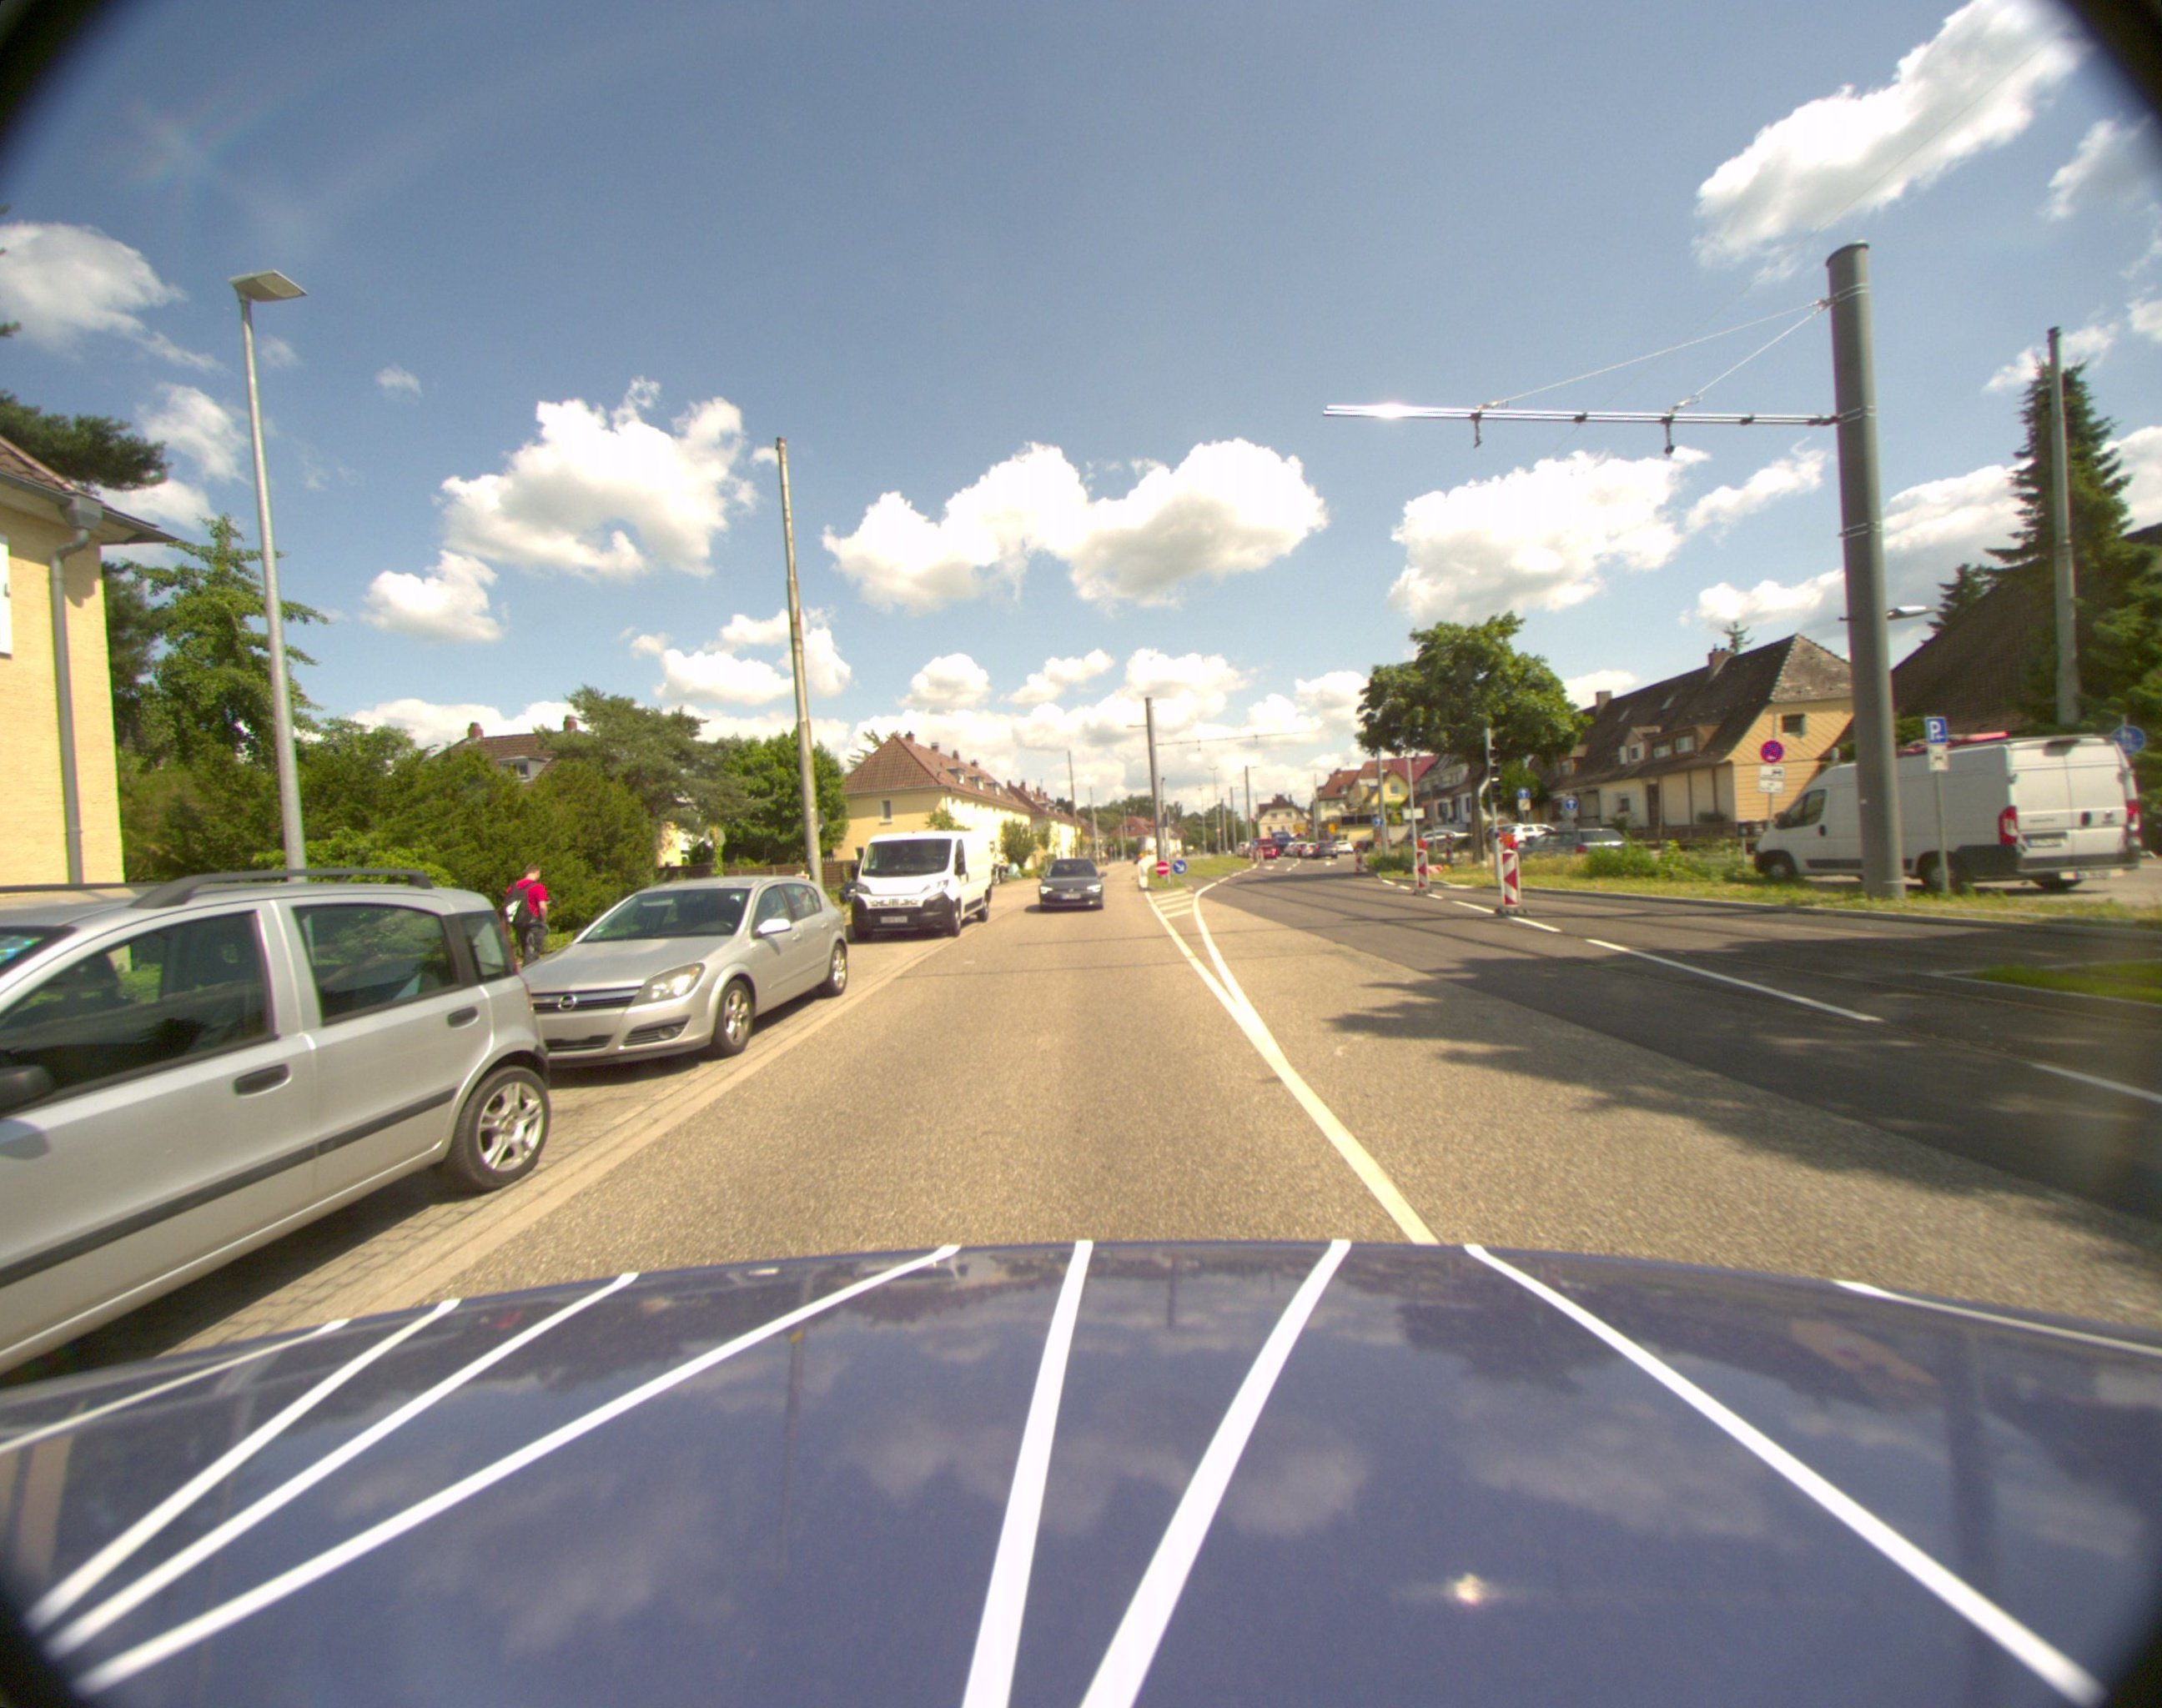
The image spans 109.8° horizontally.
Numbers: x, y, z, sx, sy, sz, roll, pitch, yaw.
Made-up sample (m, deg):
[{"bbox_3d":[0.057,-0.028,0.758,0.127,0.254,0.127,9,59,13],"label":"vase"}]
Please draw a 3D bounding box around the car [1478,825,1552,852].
[{"bbox_3d":[28.839,-0.995,50.604,3.891,1.535,1.707,-3,0,8],"label":"car"}]

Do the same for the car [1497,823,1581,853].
[{"bbox_3d":[27.523,-0.932,45.739,3.960,1.535,1.761,-3,0,-1],"label":"car"}]

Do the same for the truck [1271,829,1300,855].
[{"bbox_3d":[26.775,-1.523,99.606,2.841,3.135,7.939,-3,0,10],"label":"truck"}]

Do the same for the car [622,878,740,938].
[{"bbox_3d":[-12.835,1.676,24.653,1.632,1.538,3.809,-4,1,1],"label":"car"}]

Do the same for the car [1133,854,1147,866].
[{"bbox_3d":[8.524,0.910,109.766,1.878,1.543,4.987,-3,0,6],"label":"car"}]

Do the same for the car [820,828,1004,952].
[{"bbox_3d":[-3.430,0.658,17.115,2.282,2.170,6.369,-3,0,3],"label":"car"}]

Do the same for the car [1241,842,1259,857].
[{"bbox_3d":[21.597,-0.587,97.368,1.729,1.843,4.544,-3,0,7],"label":"car"}]

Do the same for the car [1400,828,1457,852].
[{"bbox_3d":[30.069,-1.187,65.856,3.996,1.835,1.803,-3,0,4],"label":"car"}]

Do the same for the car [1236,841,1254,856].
[{"bbox_3d":[22.623,-0.790,104.684,1.922,1.953,4.544,-3,0,7],"label":"car"}]

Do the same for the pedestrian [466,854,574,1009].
[{"bbox_3d":[-7.639,1.017,10.386,0.774,2.002,0.761,-3,1,1],"label":"pedestrian"}]

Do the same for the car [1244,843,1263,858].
[{"bbox_3d":[20.495,-0.415,90.433,1.729,1.553,4.544,-3,0,7],"label":"car"}]

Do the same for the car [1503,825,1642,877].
[{"bbox_3d":[16.122,-0.092,25.267,1.696,1.456,4.756,-3,0,3],"label":"car"}]

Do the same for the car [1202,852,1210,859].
[{"bbox_3d":[36.817,0.356,224.249,2.058,1.996,4.952,-3,0,11],"label":"car"}]

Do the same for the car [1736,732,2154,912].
[{"bbox_3d":[15.468,-0.496,14.194,2.158,2.653,4.916,-3,0,1],"label":"car"}]

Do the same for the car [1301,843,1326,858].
[{"bbox_3d":[21.847,-0.347,71.525,1.728,1.327,4.545,-3,0,10],"label":"car"}]

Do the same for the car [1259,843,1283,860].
[{"bbox_3d":[19.043,-0.240,76.334,1.729,1.553,4.544,-3,0,8],"label":"car"}]

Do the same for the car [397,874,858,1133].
[{"bbox_3d":[-3.562,1.023,7.065,1.712,1.495,4.254,-3,0,-1],"label":"car"}]

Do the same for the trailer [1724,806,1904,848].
[{"bbox_3d":[30.650,-1.109,31.919,5.266,1.385,2.025,-3,0,6],"label":"trailer"}]

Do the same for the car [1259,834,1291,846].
[{"bbox_3d":[34.385,-2.450,134.669,2.290,1.861,4.972,-4,0,-43],"label":"car"}]

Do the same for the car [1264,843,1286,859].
[{"bbox_3d":[20.886,-0.299,81.959,1.729,1.553,4.647,-3,0,8],"label":"car"}]

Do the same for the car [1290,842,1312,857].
[{"bbox_3d":[24.659,-0.551,85.228,1.729,1.553,4.544,-3,0,8],"label":"car"}]

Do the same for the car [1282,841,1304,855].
[{"bbox_3d":[25.473,-0.687,91.464,1.729,1.553,4.544,-3,0,7],"label":"car"}]

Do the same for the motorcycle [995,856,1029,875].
[{"bbox_3d":[-4.944,0.841,54.757,2.232,1.190,0.855,-3,0,8],"label":"motorcycle"}]

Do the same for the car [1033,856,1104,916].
[{"bbox_3d":[-0.268,0.848,22.441,1.742,1.513,4.702,-2,0,3],"label":"car"}]

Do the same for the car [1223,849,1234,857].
[{"bbox_3d":[37.797,-0.364,194.732,2.282,1.861,4.990,-3,0,15],"label":"car"}]

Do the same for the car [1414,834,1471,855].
[{"bbox_3d":[29.895,-0.768,62.914,3.887,1.546,1.682,-3,0,4],"label":"car"}]

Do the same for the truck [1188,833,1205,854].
[{"bbox_3d":[31.552,-2.877,207.706,3.473,5.153,14.229,-3,0,12],"label":"truck"}]

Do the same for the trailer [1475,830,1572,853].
[{"bbox_3d":[28.046,-0.761,48.284,4.932,1.118,1.961,-3,0,4],"label":"trailer"}]

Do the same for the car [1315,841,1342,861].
[{"bbox_3d":[20.929,-0.301,64.408,1.728,1.518,4.774,-3,0,13],"label":"car"}]

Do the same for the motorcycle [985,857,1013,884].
[{"bbox_3d":[-4.656,0.905,43.195,1.049,1.462,2.586,-1,0,6],"label":"motorcycle"}]

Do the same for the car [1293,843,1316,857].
[{"bbox_3d":[23.025,-0.446,78.512,1.728,1.327,4.545,-3,0,10],"label":"car"}]

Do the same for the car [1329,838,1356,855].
[{"bbox_3d":[27.048,-0.759,78.621,1.729,1.553,4.544,-3,0,8],"label":"car"}]

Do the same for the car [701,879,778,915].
[{"bbox_3d":[-15.256,1.892,34.174,1.564,1.389,3.934,-3,-1,1],"label":"car"}]

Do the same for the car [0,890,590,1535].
[{"bbox_3d":[-3.624,1.016,2.374,1.632,1.541,3.809,-3,0,0],"label":"car"}]
